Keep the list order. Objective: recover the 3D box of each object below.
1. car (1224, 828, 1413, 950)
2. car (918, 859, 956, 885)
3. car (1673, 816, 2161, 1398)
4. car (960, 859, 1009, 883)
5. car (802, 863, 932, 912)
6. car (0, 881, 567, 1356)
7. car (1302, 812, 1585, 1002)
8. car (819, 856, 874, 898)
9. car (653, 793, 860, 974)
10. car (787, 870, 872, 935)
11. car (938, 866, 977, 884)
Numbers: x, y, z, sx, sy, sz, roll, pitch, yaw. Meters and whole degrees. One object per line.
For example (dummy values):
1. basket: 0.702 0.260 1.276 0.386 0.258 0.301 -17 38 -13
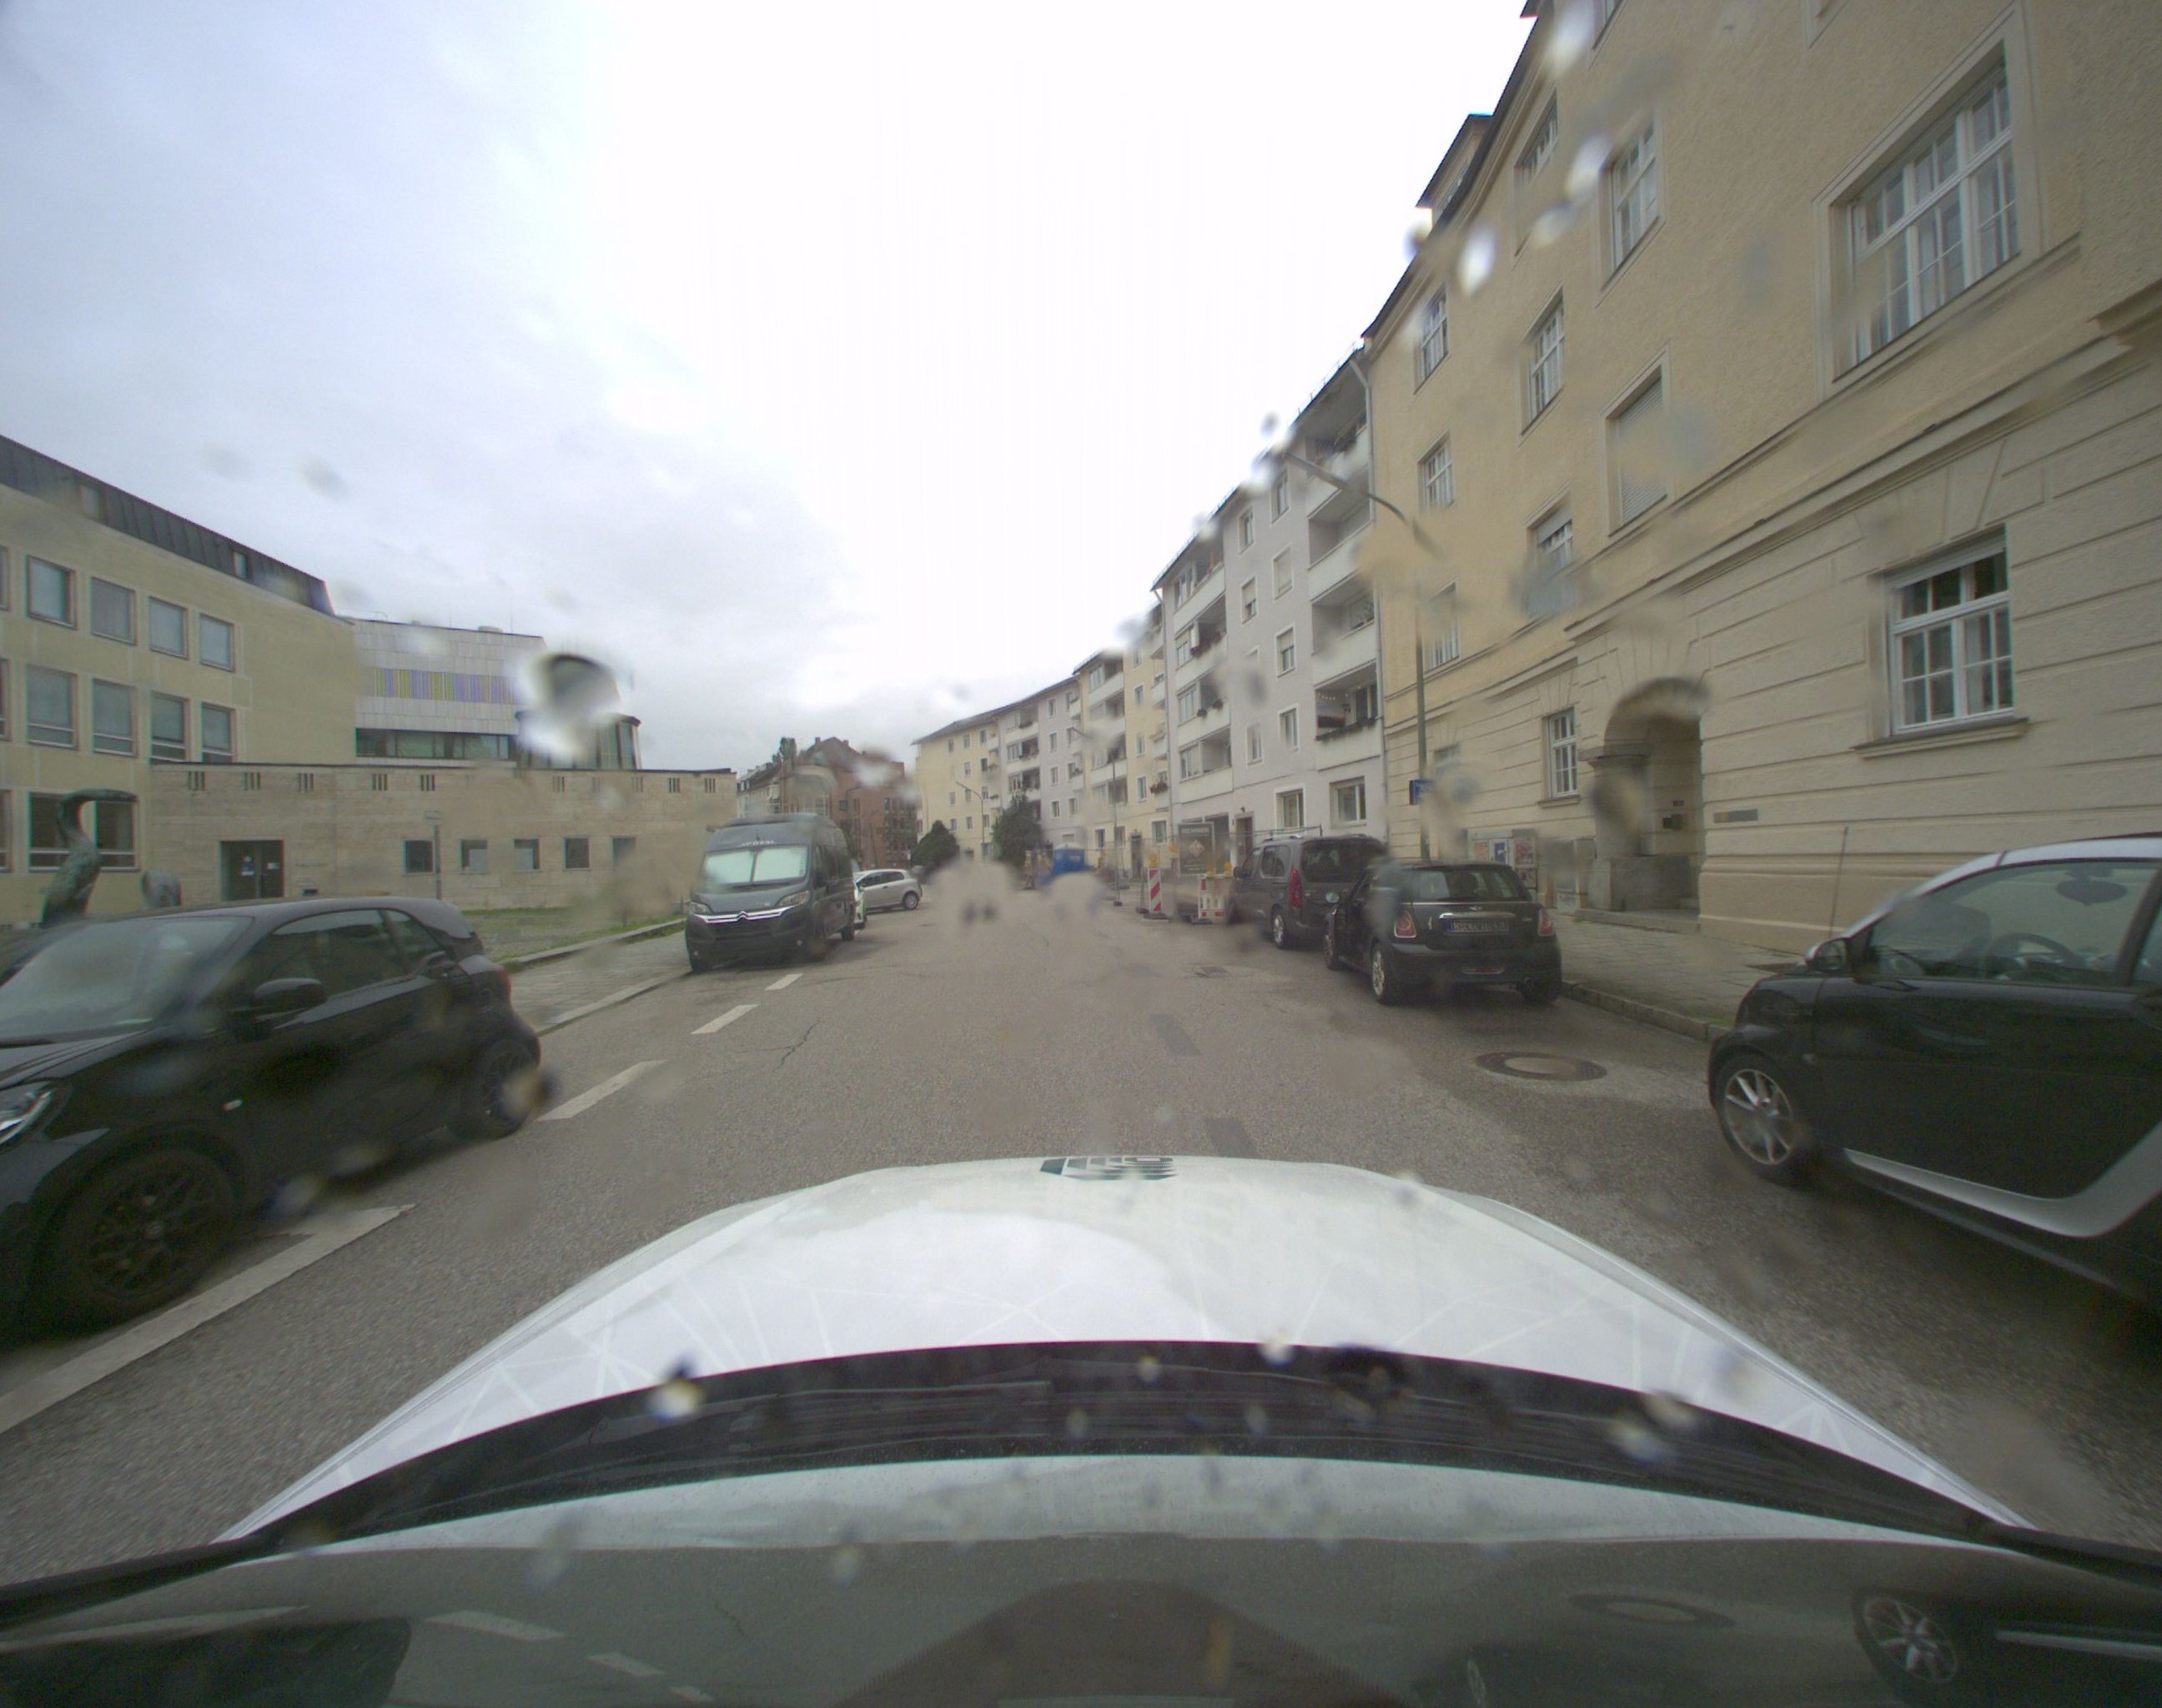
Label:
1. car: 3.900 0.539 14.177 1.833 1.799 4.232 0 -1 -4
2. car: -12.264 1.495 69.244 1.758 2.082 4.472 0 -1 -30
3. car: 3.711 0.683 2.784 1.500 1.557 2.867 0 -1 6
4. car: -7.253 1.239 60.742 2.039 1.678 4.568 0 -1 -30
5. car: -7.244 1.090 27.794 1.654 1.530 4.006 -1 -1 44
6. car: -4.321 0.952 4.003 1.661 1.460 2.867 -4 -1 0
7. car: 3.817 0.502 9.334 1.828 1.730 3.734 0 -1 4
8. car: -11.005 1.019 38.008 2.001 1.772 4.779 -2 0 -22
9. car: -5.663 0.458 15.231 2.143 2.574 6.192 -3 0 -9
10. car: -6.755 1.234 22.263 1.830 1.387 4.122 -5 1 -14
11. car: -9.917 1.680 65.218 1.670 1.349 3.764 0 -3 -33
